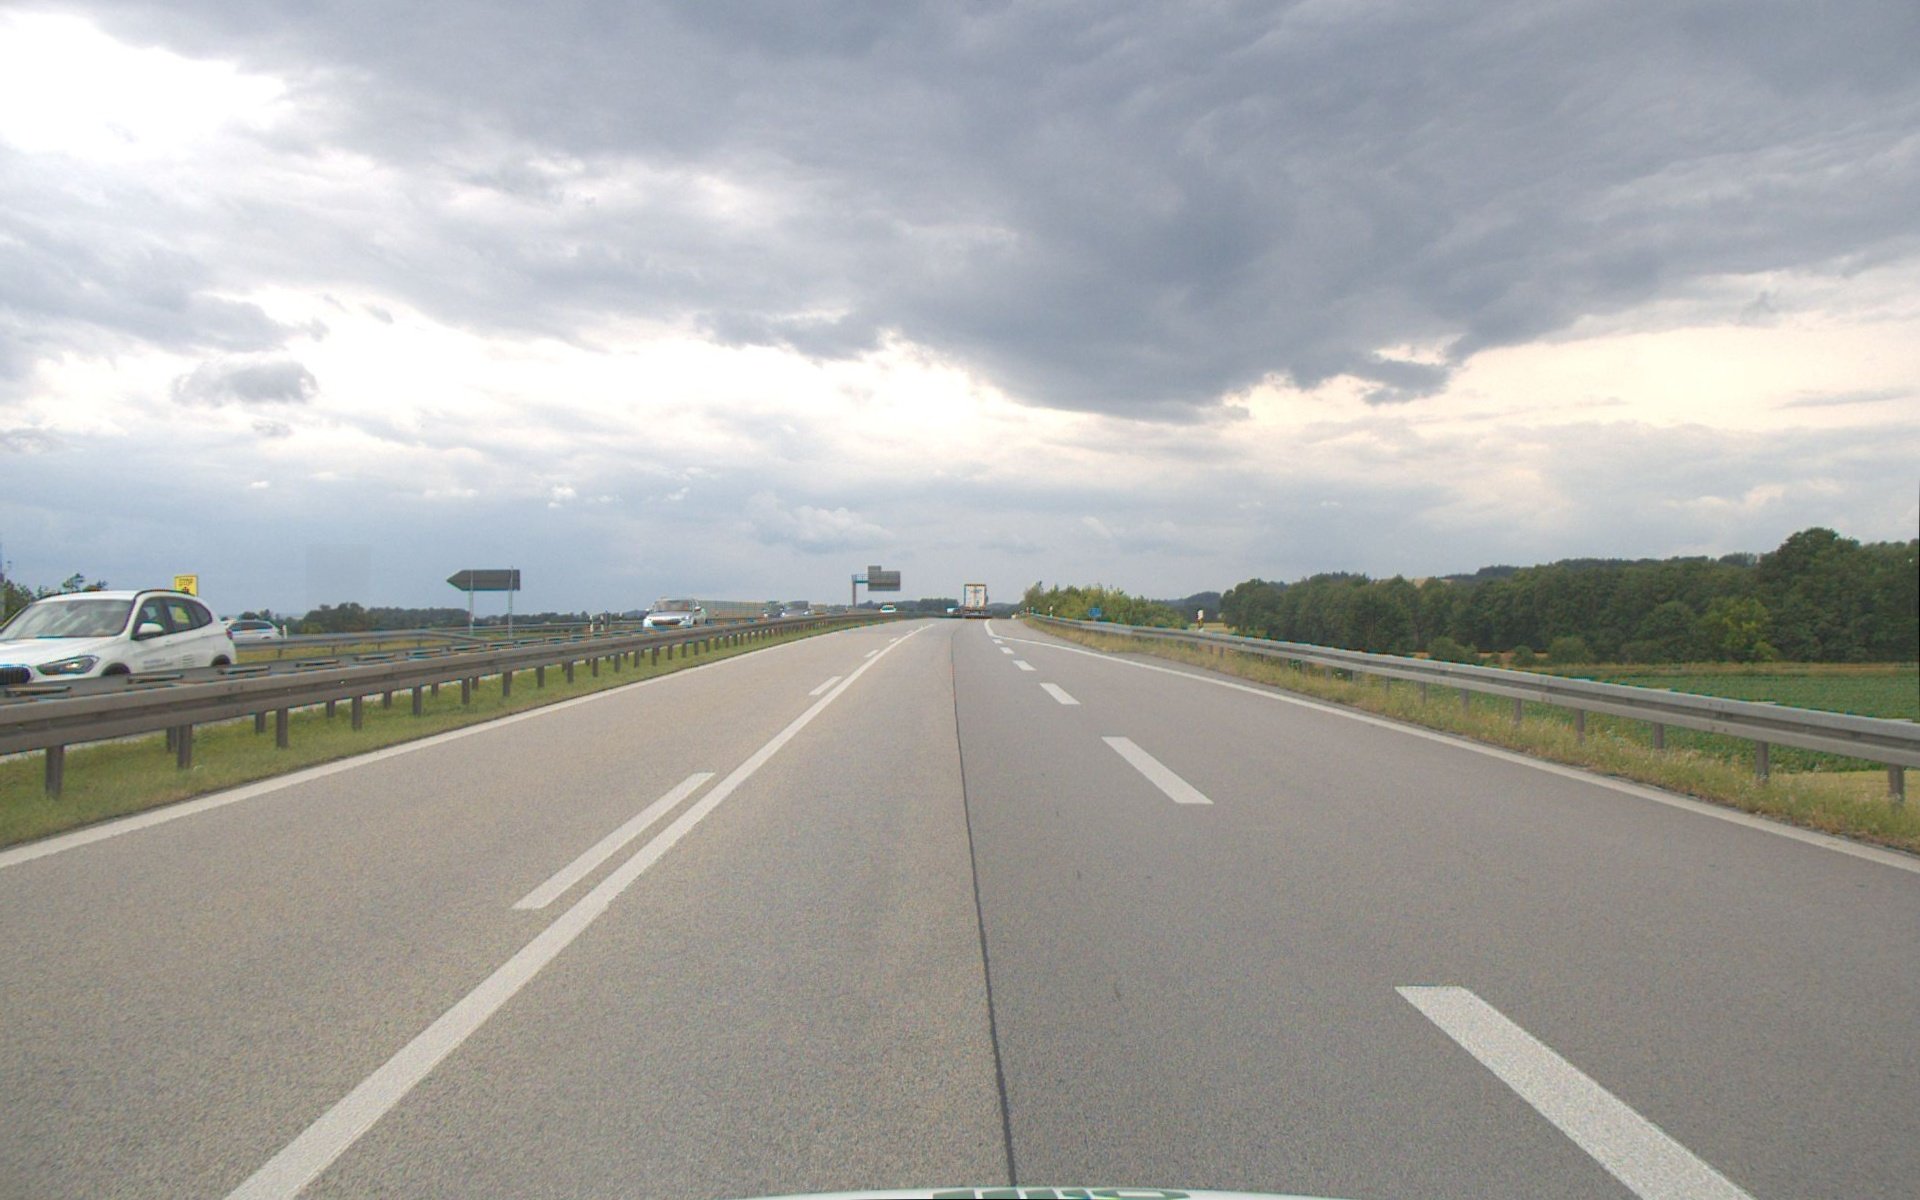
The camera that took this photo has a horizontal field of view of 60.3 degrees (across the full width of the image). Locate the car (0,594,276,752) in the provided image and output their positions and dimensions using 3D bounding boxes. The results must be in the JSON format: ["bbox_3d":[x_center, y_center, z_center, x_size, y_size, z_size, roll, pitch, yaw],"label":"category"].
[{"bbox_3d":[-9.986,0.758,19.564,1.816,1.616,4.815,-1,0,-1],"label":"car"}]

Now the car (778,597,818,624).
[{"bbox_3d":[-10.247,0.633,104.717,2.092,1.616,4.998,-1,0,-1],"label":"car"}]

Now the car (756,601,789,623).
[{"bbox_3d":[-13.477,0.840,119.078,1.764,1.417,4.000,6,0,0],"label":"car"}]

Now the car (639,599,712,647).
[{"bbox_3d":[-10.315,0.797,60.214,1.853,1.616,4.761,-1,0,-1],"label":"car"}]

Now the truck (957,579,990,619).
[{"bbox_3d":[1.783,-0.045,205.763,3.596,4.490,16.342,0,-1,2],"label":"truck"}]

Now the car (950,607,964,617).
[{"bbox_3d":[-0.468,1.765,250.076,1.953,1.445,3.999,1,0,-1],"label":"car"}]
